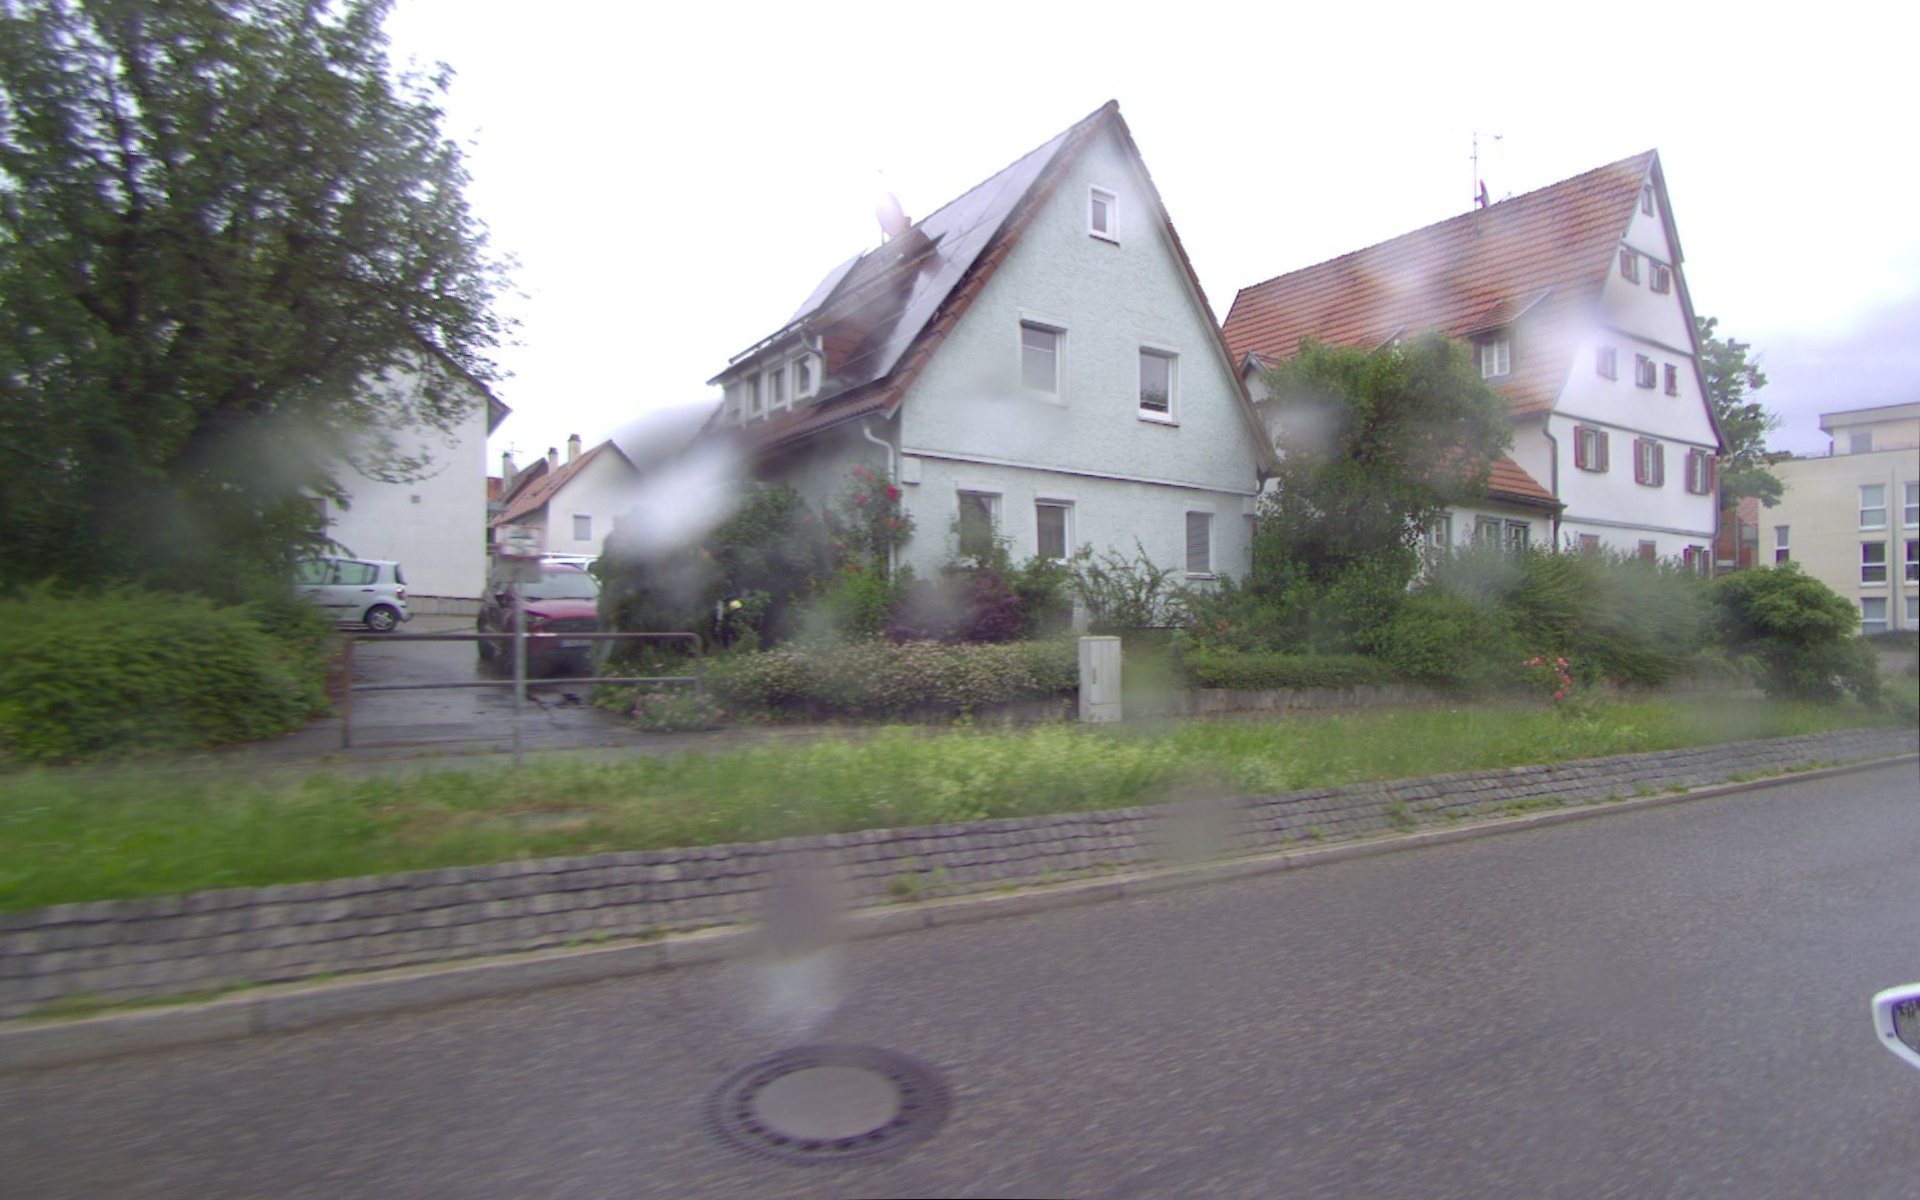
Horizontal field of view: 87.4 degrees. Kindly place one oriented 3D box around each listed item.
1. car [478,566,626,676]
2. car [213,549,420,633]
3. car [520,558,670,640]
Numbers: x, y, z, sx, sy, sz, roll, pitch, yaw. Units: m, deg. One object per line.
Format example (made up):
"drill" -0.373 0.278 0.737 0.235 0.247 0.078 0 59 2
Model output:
"car" -6.862 0.263 16.658 1.759 1.571 3.968 1 1 -29
"car" -13.413 -0.126 21.082 3.505 1.597 1.737 2 -2 -34
"car" -8.347 -0.026 23.315 1.829 1.706 3.703 2 0 5
